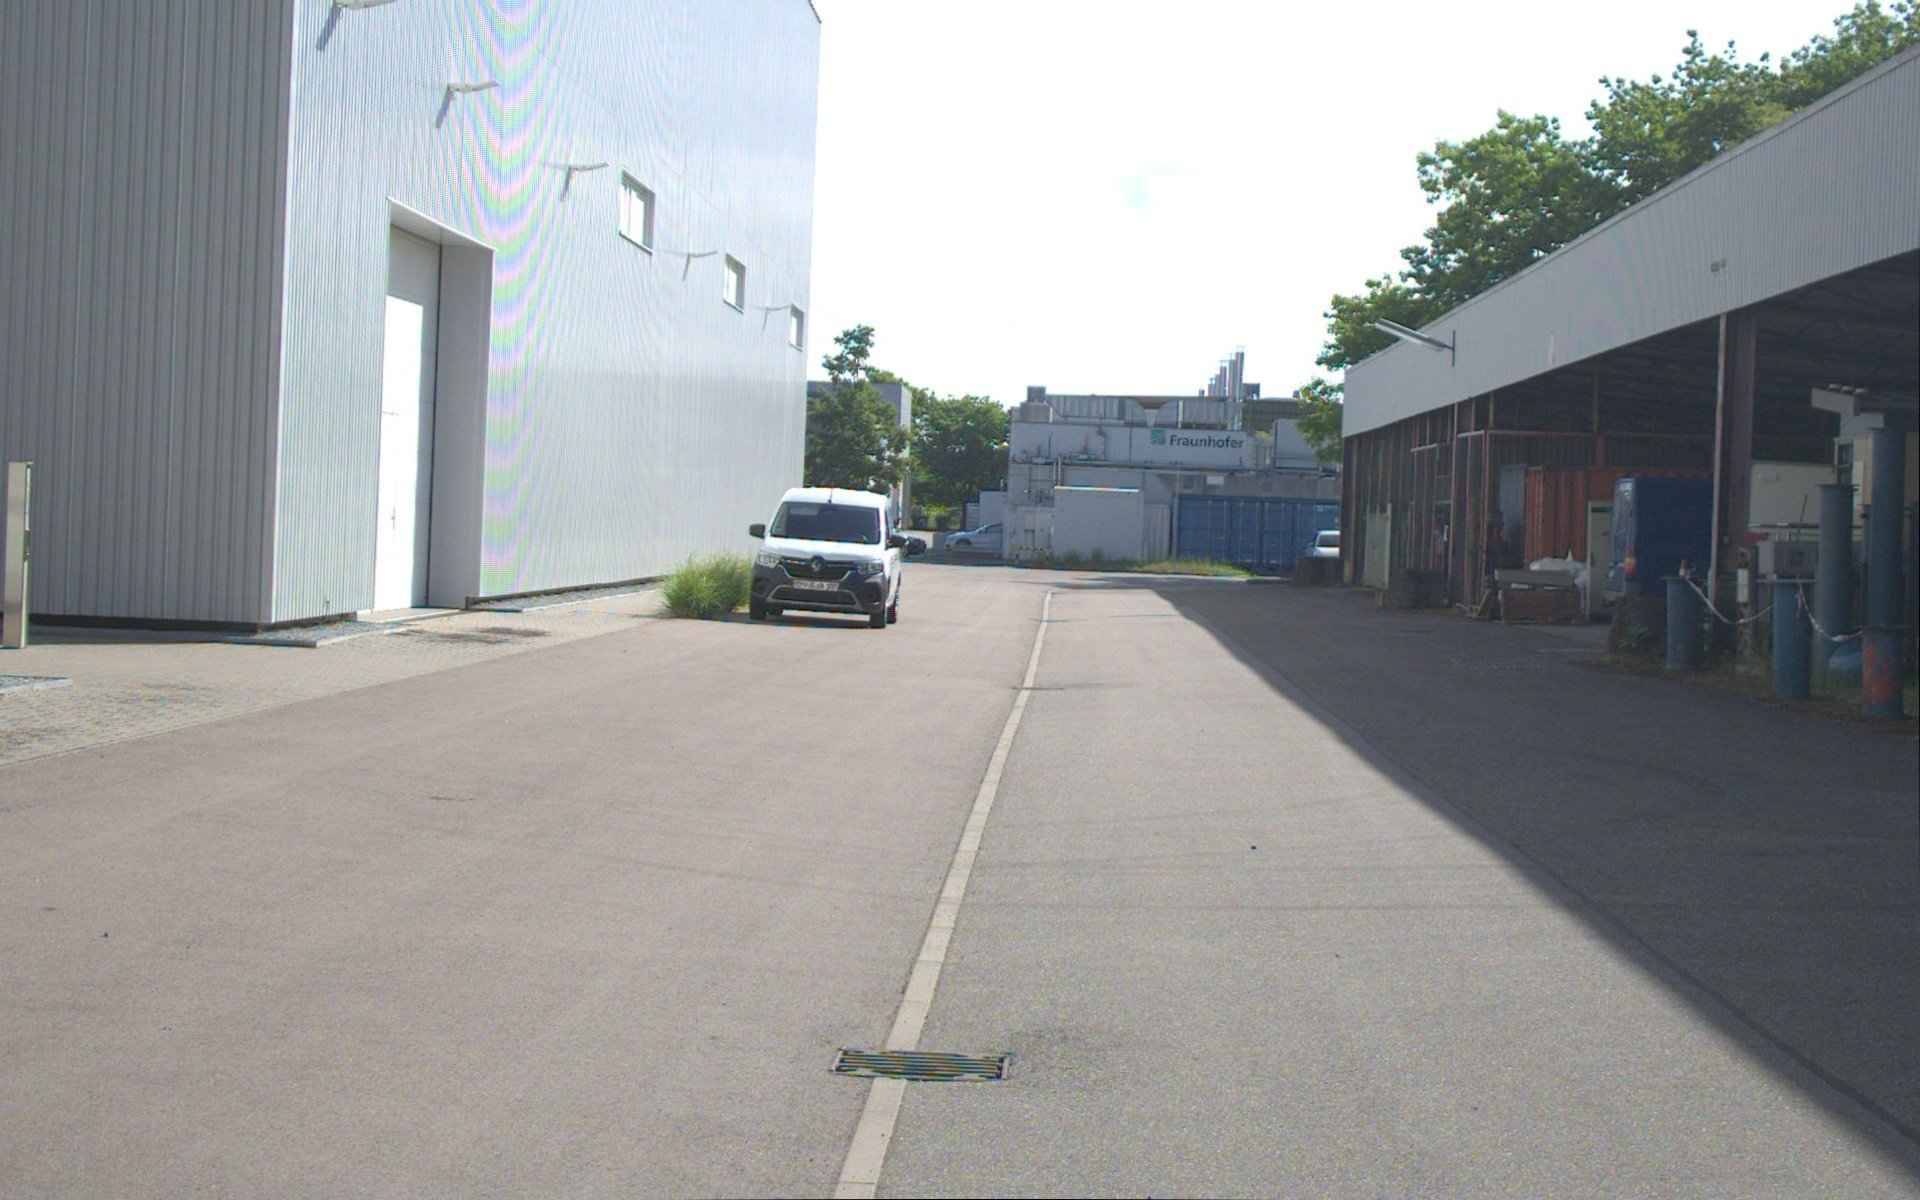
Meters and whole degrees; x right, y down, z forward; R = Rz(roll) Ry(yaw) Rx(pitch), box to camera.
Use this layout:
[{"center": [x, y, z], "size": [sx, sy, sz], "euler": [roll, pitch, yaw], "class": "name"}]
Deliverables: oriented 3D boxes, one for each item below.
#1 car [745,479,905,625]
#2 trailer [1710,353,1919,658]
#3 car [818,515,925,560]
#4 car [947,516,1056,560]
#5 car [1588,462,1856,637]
[{"center": [-1.765, -0.663, 46.139], "size": [1.908, 1.787, 4.000], "euler": [3, 1, 0], "class": "car"}, {"center": [12.254, -1.021, 39.921], "size": [6.388, 3.359, 2.825], "euler": [2, 1, 1], "class": "trailer"}, {"center": [-3.288, -2.337, 128.183], "size": [3.885, 1.457, 1.623], "euler": [3, 1, 1], "class": "car"}, {"center": [1.534, -2.299, 127.219], "size": [3.885, 1.457, 1.623], "euler": [3, 1, 4], "class": "car"}, {"center": [11.287, -0.759, 51.112], "size": [3.505, 2.433, 2.000], "euler": [2, 1, 3], "class": "car"}]
